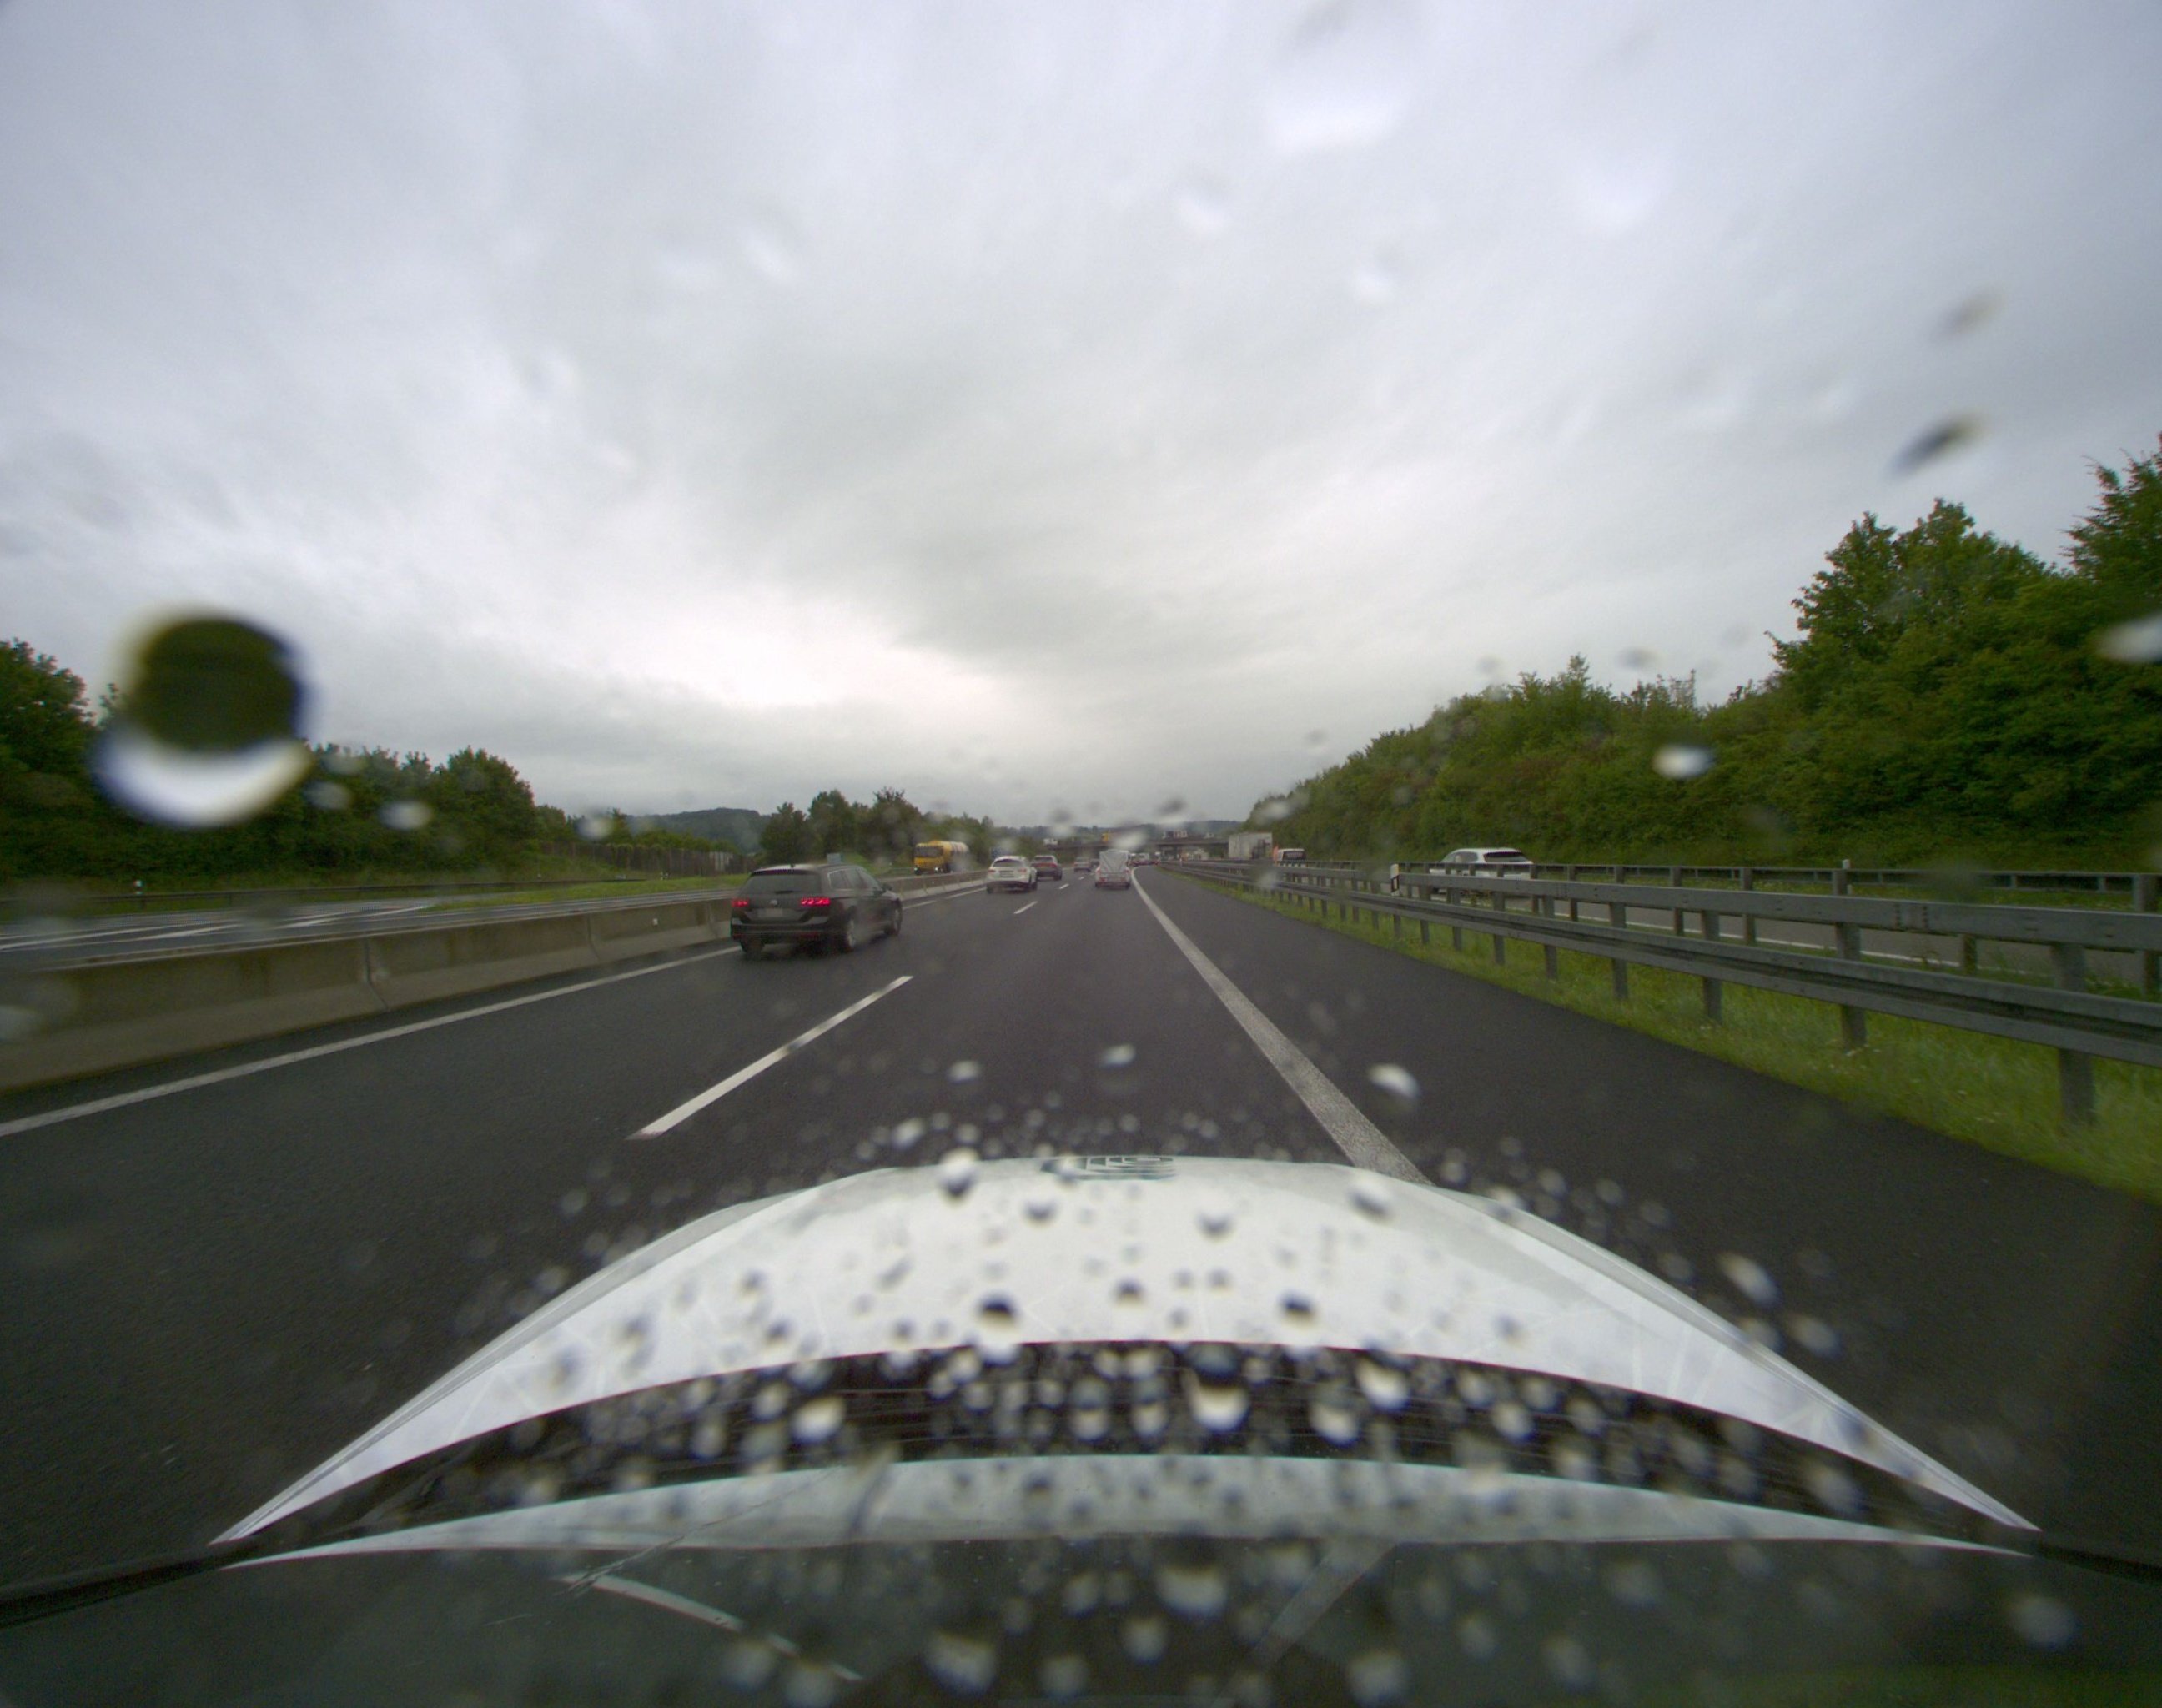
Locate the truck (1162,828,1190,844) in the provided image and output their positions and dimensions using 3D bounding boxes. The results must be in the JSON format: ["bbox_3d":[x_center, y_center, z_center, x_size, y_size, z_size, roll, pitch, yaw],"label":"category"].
[{"bbox_3d":[30.200,-5.726,258.916,3.790,4.836,9.947,-1,0,-30],"label":"truck"}]

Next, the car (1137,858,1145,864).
[{"bbox_3d":[15.766,1.858,213.596,1.985,1.750,4.004,0,0,3],"label":"car"}]

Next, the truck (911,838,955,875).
[{"bbox_3d":[-13.891,0.249,76.914,2.749,3.398,5.852,0,0,4],"label":"truck"}]

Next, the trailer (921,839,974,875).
[{"bbox_3d":[-13.423,0.289,83.160,2.749,3.398,11.460,0,0,4],"label":"trailer"}]

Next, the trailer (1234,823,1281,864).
[{"bbox_3d":[19.572,-1.151,91.210,3.423,4.289,10.461,-1,0,3],"label":"trailer"}]

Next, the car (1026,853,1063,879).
[{"bbox_3d":[-2.486,0.802,55.885,2.166,1.631,4.502,-1,0,2],"label":"car"}]

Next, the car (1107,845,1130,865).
[{"bbox_3d":[5.233,0.173,112.836,3.003,2.616,6.081,-1,0,4],"label":"car"}]

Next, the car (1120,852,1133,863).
[{"bbox_3d":[8.034,0.621,144.091,1.987,2.036,4.150,0,0,0],"label":"car"}]

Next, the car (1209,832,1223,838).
[{"bbox_3d":[40.275,-5.637,242.294,1.851,1.915,3.956,0,-1,-36],"label":"car"}]

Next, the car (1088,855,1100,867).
[{"bbox_3d":[1.971,1.095,126.261,1.835,1.819,4.001,-1,0,1],"label":"car"}]

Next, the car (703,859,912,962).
[{"bbox_3d":[-4.552,0.853,14.479,1.893,1.497,4.854,-1,0,2],"label":"car"}]

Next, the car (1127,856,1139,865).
[{"bbox_3d":[10.394,1.370,163.413,1.987,1.750,3.999,0,0,0],"label":"car"}]

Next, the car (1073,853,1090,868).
[{"bbox_3d":[0.051,0.695,93.668,1.894,1.613,4.018,-1,0,1],"label":"car"}]

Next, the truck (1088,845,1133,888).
[{"bbox_3d":[1.617,0.576,41.773,2.010,1.985,7.221,-1,0,4],"label":"truck"}]

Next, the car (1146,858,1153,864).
[{"bbox_3d":[20.257,2.013,240.925,1.984,1.750,4.005,0,0,4],"label":"car"}]

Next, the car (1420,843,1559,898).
[{"bbox_3d":[12.616,0.480,25.553,2.001,1.548,4.694,-1,0,0],"label":"car"}]

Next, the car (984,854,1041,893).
[{"bbox_3d":[-3.085,0.843,37.487,1.968,1.639,4.504,-1,0,3],"label":"car"}]

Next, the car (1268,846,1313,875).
[{"bbox_3d":[13.936,0.444,54.342,1.853,1.805,4.649,-1,0,1],"label":"car"}]

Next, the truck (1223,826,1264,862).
[{"bbox_3d":[20.115,-1.193,101.654,3.423,4.289,10.425,-1,0,3],"label":"truck"}]
